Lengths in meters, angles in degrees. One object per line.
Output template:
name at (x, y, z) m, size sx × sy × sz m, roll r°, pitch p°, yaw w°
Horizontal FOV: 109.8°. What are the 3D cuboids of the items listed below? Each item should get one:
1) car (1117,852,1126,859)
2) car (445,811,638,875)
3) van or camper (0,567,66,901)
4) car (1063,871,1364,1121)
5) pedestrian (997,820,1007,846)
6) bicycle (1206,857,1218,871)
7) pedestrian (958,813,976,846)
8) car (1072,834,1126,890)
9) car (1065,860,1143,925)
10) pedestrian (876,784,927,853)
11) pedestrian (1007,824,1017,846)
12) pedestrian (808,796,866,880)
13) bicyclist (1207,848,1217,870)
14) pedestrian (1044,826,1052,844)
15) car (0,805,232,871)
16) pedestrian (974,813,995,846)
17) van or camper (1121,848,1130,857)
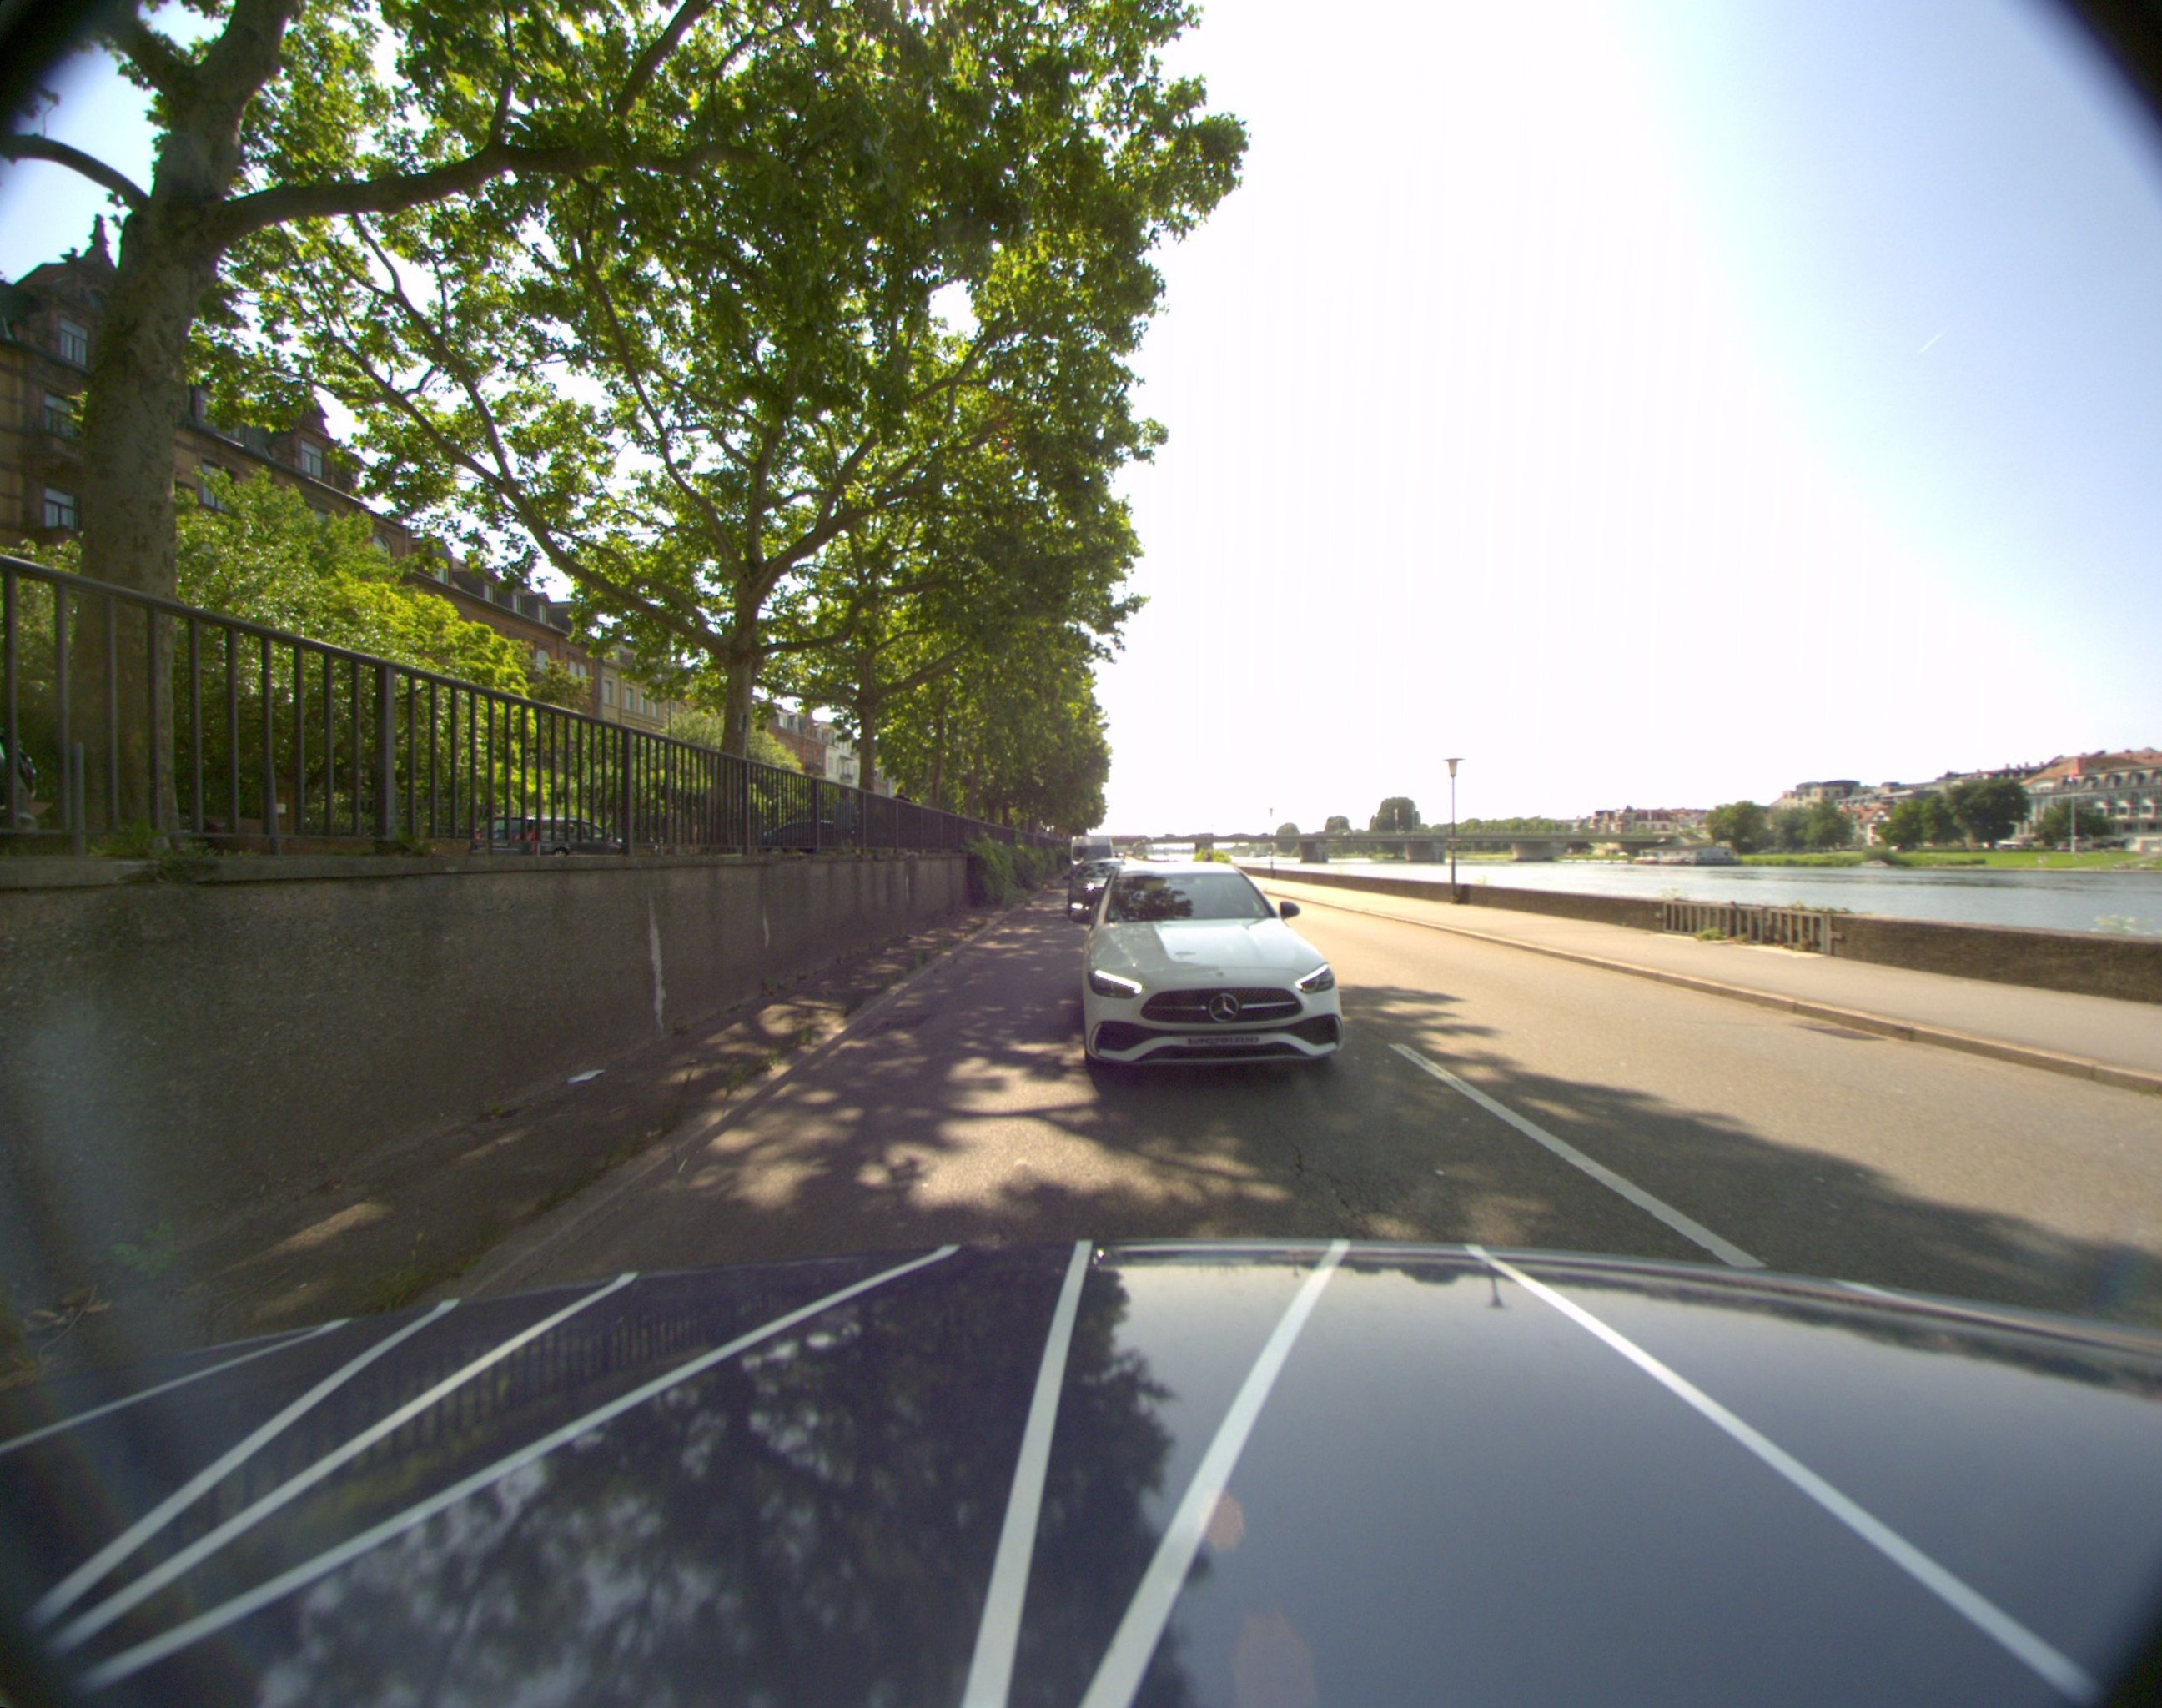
car at (8.457, 0.243, 158.941) m, size 1.736 × 1.433 × 4.045 m, roll 1°, pitch 0°, yaw 0°
car at (-14.207, -0.274, 20.389) m, size 1.841 × 1.504 × 4.430 m, roll 1°, pitch 0°, yaw 3°
van or camper at (-9.799, -0.589, 2.524) m, size 2.339 × 2.171 × 7.369 m, roll -3°, pitch 1°, yaw 30°
car at (0.878, 0.939, 7.001) m, size 1.830 × 1.411 × 4.552 m, roll -1°, pitch 0°, yaw 1°
pedestrian at (-5.031, -1.302, 48.305) m, size 0.649 × 1.630 × 0.626 m, roll 0°, pitch 1°, yaw -7°
bicycle at (10.281, 0.779, 59.567) m, size 0.634 × 1.006 × 1.986 m, roll 0°, pitch 0°, yaw 0°
pedestrian at (-4.873, -1.046, 32.514) m, size 0.645 × 1.358 × 0.794 m, roll 2°, pitch 1°, yaw -1°
car at (0.801, 0.326, 36.305) m, size 2.351 × 2.429 × 6.208 m, roll 0°, pitch 0°, yaw 0°
car at (0.540, 0.891, 19.652) m, size 1.756 × 1.385 × 4.619 m, roll -1°, pitch 0°, yaw 0°
pedestrian at (-4.255, -0.819, 18.061) m, size 0.939 × 1.570 × 1.027 m, roll 2°, pitch 1°, yaw -1°
pedestrian at (-4.399, -1.211, 48.315) m, size 0.586 × 1.411 × 0.589 m, roll 0°, pitch 1°, yaw -7°
pedestrian at (-4.305, -0.270, 13.455) m, size 0.682 × 1.416 × 0.949 m, roll 2°, pitch 1°, yaw 0°
bicyclist at (10.251, 0.379, 59.413) m, size 0.639 × 1.664 × 0.871 m, roll 0°, pitch 1°, yaw 0°
pedestrian at (-2.935, -1.637, 66.777) m, size 0.666 × 1.582 × 0.651 m, roll 0°, pitch 1°, yaw 1°
car at (-24.257, -0.375, 19.129) m, size 3.794 × 1.528 × 1.792 m, roll -1°, pitch 0°, yaw 1°
pedestrian at (-4.066, -1.020, 32.185) m, size 0.755 × 1.358 × 0.814 m, roll 2°, pitch 1°, yaw -1°
van or camper at (12.600, -0.356, 215.327) m, size 2.082 × 2.384 × 5.385 m, roll 1°, pitch 0°, yaw 1°
